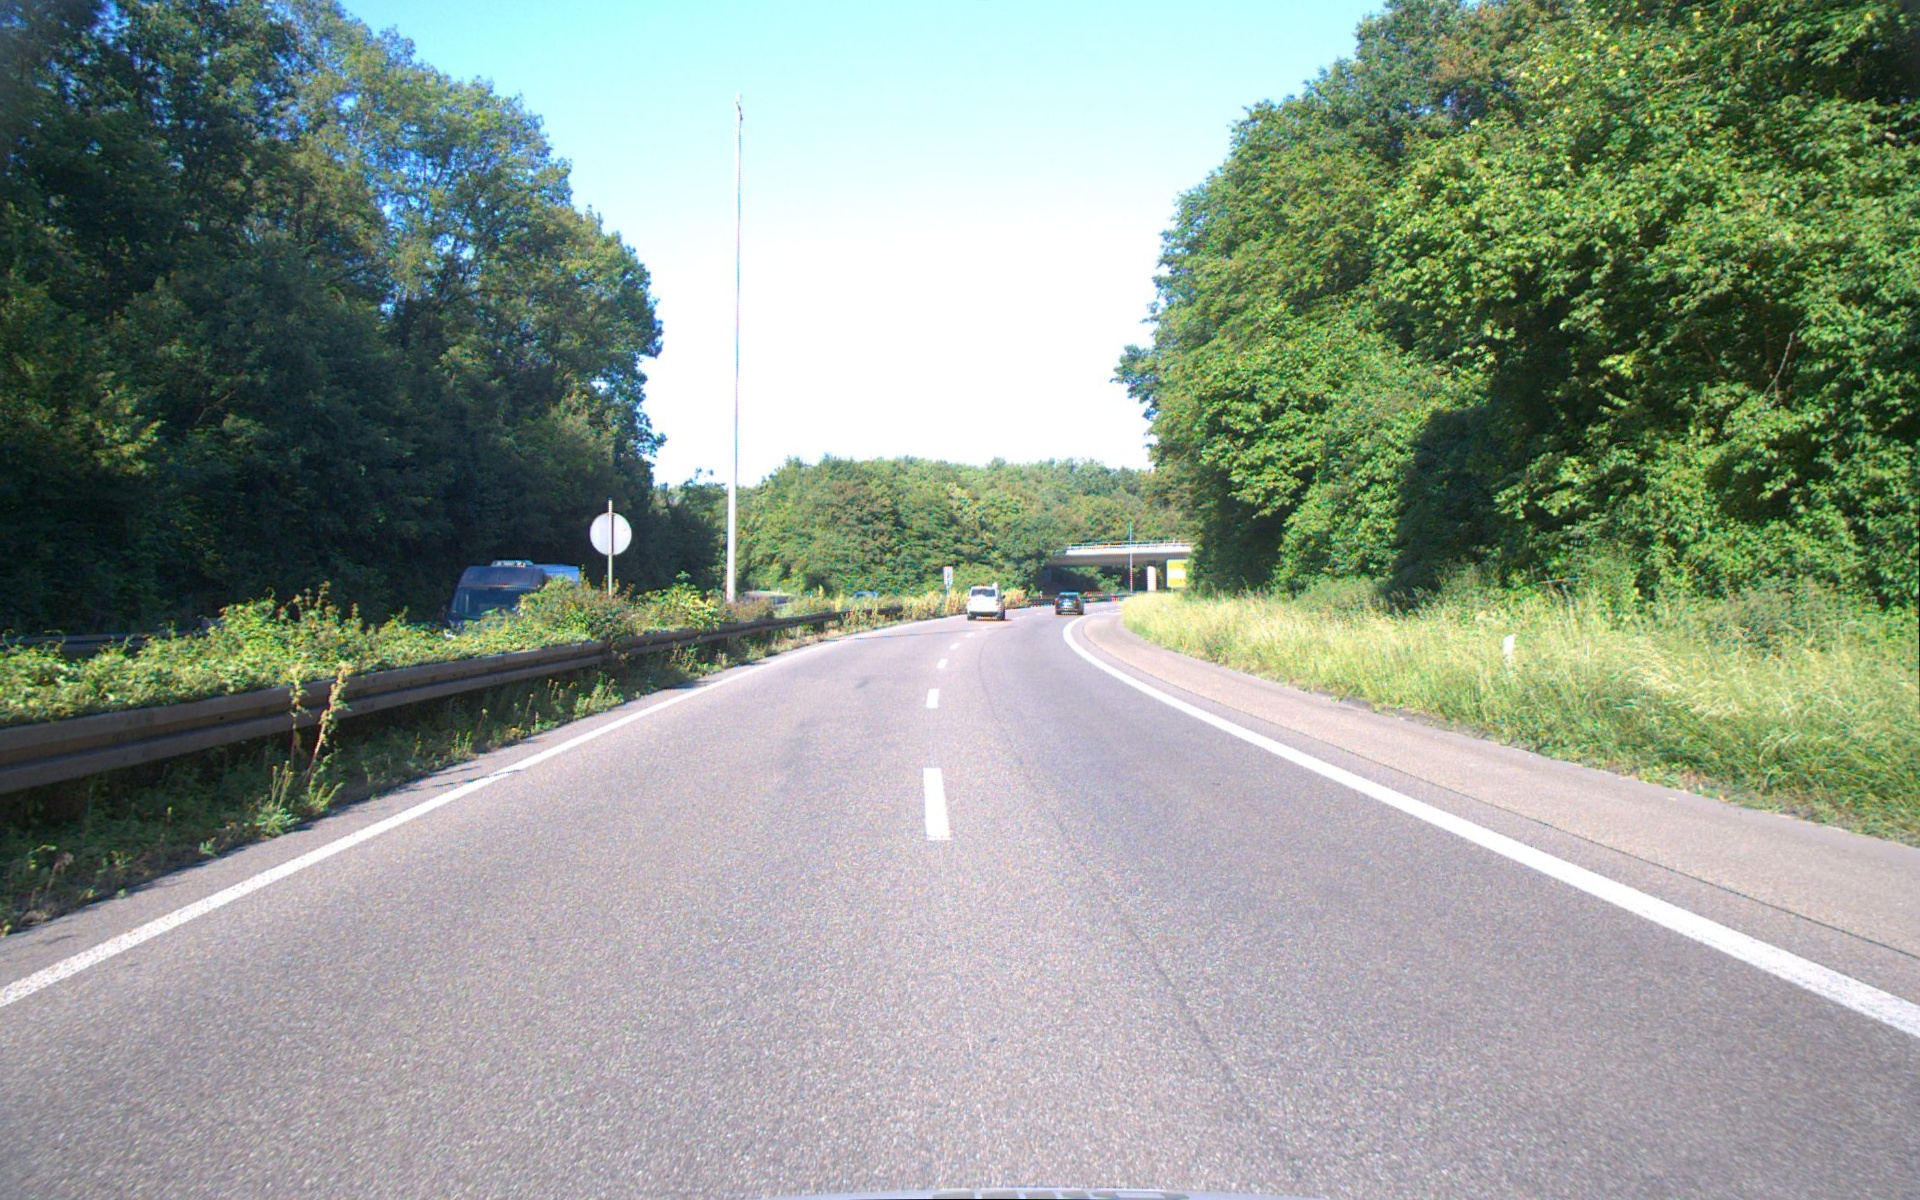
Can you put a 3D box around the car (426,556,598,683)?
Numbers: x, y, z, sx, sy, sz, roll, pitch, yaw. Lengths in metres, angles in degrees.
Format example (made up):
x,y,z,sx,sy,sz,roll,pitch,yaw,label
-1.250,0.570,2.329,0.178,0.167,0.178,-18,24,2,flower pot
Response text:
x,y,z,sx,sy,sz,roll,pitch,yaw,label
-9.988,0.378,37.444,2.032,2.619,5.787,1,0,3,car

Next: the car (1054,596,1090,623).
x,y,z,sx,sy,sz,roll,pitch,yaw,label
7.676,0.667,113.453,1.909,1.813,4.591,0,0,11,car

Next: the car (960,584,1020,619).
x,y,z,sx,sy,sz,roll,pitch,yaw,label
1.628,0.100,88.353,1.910,1.813,4.589,0,0,18,car
